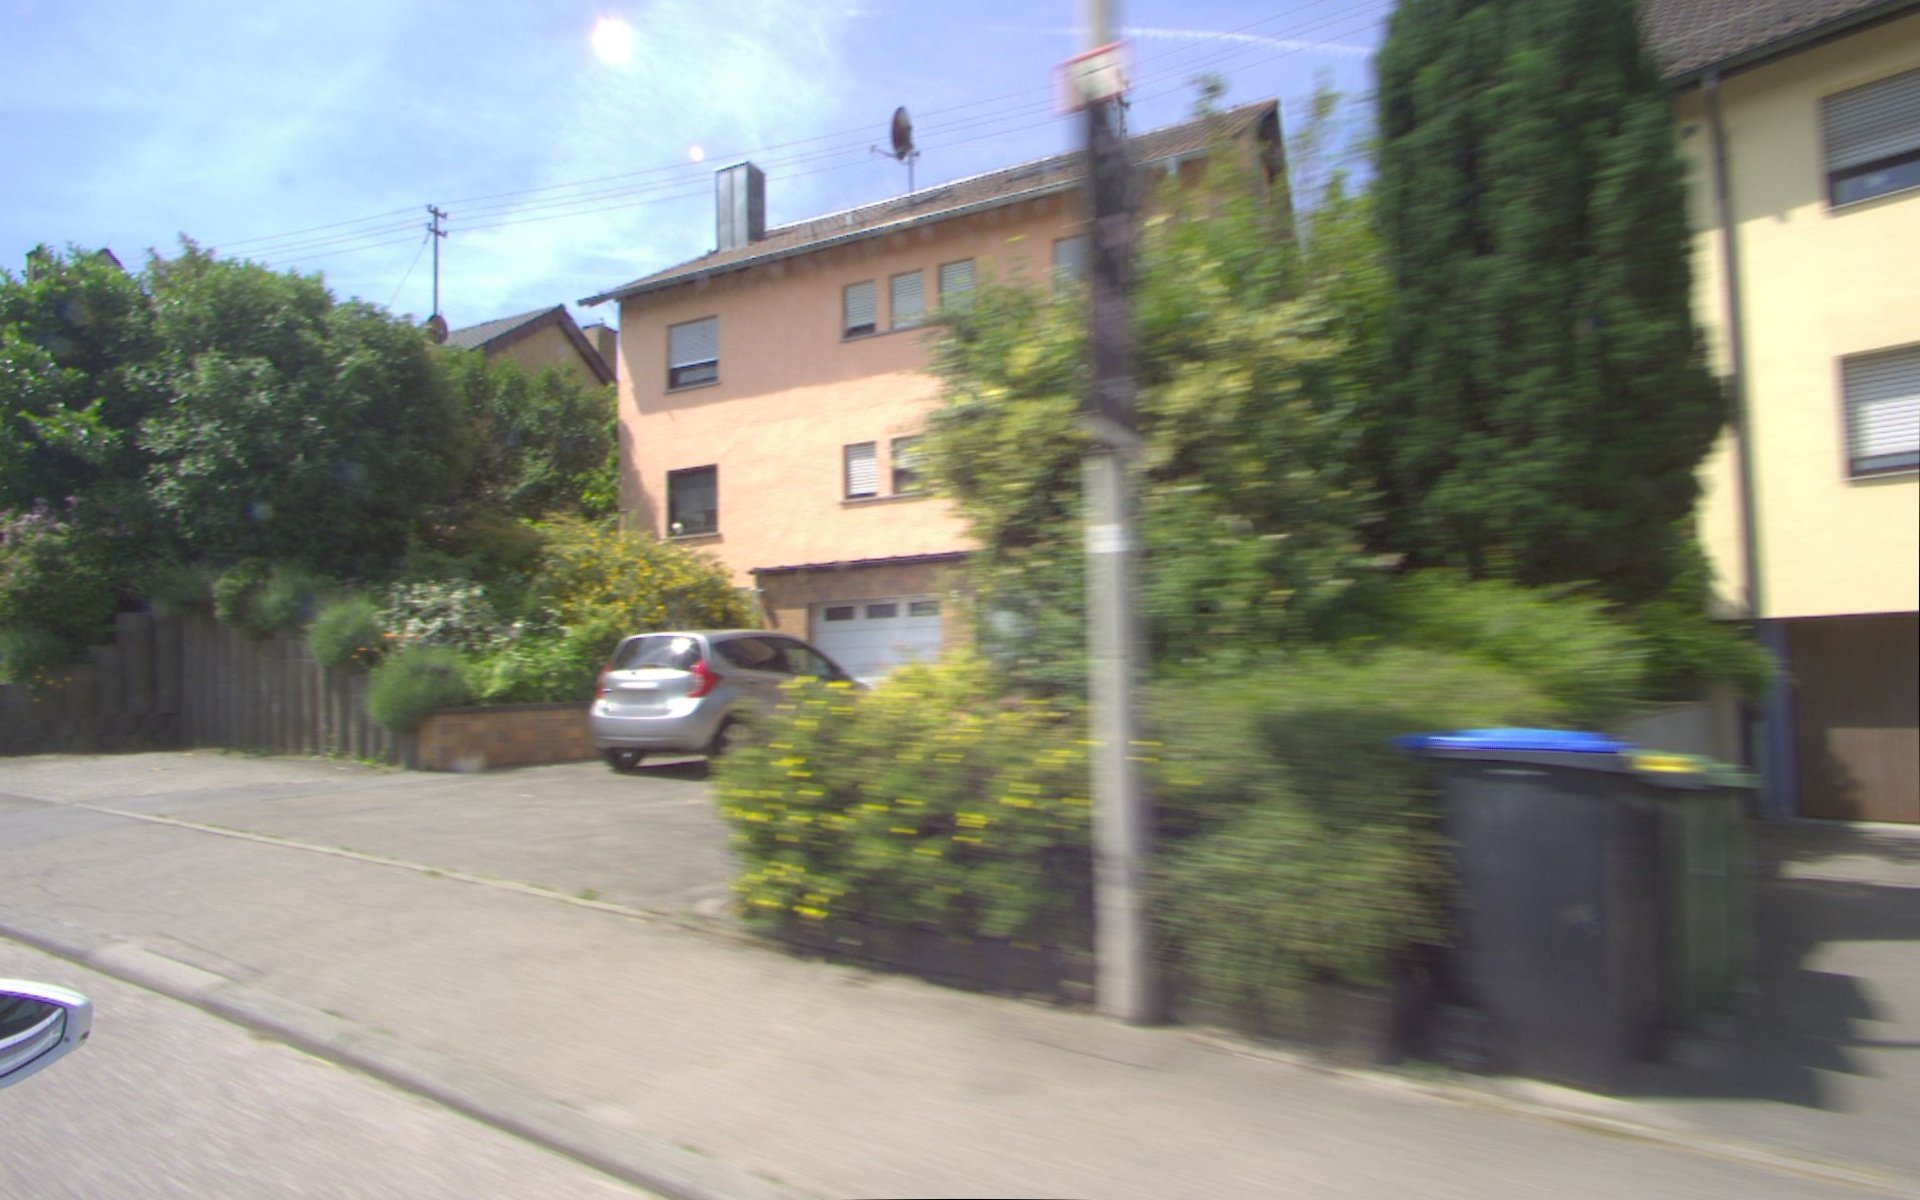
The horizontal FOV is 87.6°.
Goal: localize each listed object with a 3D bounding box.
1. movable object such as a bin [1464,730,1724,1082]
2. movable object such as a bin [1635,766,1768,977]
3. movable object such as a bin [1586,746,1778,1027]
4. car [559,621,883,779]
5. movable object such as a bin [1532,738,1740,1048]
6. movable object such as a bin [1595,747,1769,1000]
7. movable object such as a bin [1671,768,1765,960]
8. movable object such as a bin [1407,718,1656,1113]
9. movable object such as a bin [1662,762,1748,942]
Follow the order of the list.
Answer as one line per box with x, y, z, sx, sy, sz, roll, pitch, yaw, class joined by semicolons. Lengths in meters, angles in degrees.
2.341;1.053;3.712;0.758;1.080;0.549;-1;-7;36;movable object such as a bin
3.956;1.413;5.363;0.542;0.983;0.458;-1;-6;36;movable object such as a bin
3.239;1.231;4.526;0.664;1.081;0.548;-1;-6;36;movable object such as a bin
-2.595;1.097;11.757;1.807;1.517;3.646;0;-4;25;car
2.775;1.142;4.129;0.664;1.080;0.549;-1;-7;36;movable object such as a bin
3.574;1.304;4.986;0.664;1.081;0.548;-1;-6;36;movable object such as a bin
4.308;1.476;5.709;0.403;0.983;0.398;-1;-6;36;movable object such as a bin
1.890;0.958;3.301;0.650;1.080;0.549;-1;-7;36;movable object such as a bin
4.545;1.513;6.121;0.403;0.984;0.398;-1;-4;36;movable object such as a bin
